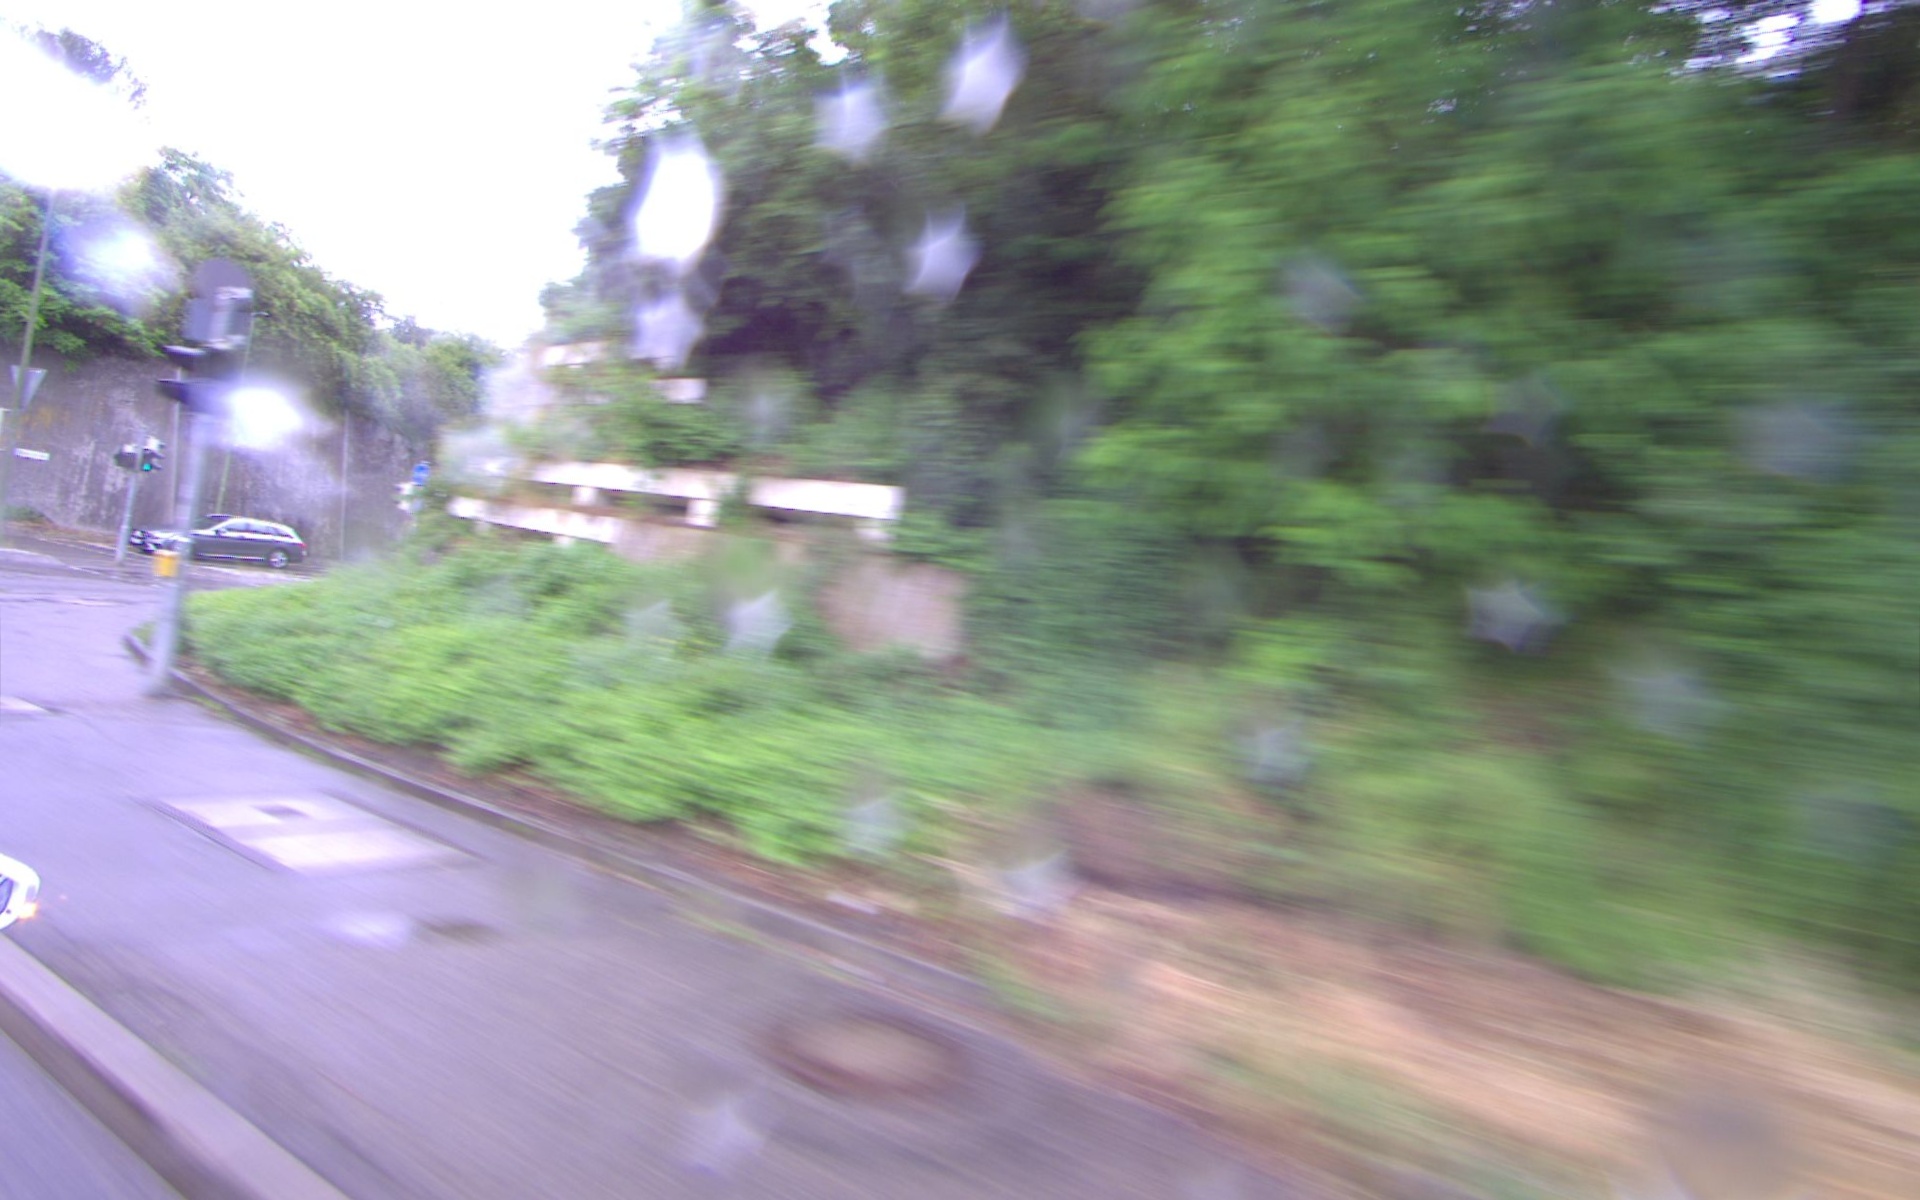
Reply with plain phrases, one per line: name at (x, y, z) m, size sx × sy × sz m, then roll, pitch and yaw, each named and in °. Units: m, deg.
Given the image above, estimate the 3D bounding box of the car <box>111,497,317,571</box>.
car at (-23.168, -2.010, 31.493) m, size 1.964 × 1.521 × 4.729 m, roll 7°, pitch -1°, yaw 23°

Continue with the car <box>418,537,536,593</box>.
car at (-19.610, -1.399, 41.050) m, size 1.787 × 1.677 × 4.051 m, roll 7°, pitch -1°, yaw 22°
